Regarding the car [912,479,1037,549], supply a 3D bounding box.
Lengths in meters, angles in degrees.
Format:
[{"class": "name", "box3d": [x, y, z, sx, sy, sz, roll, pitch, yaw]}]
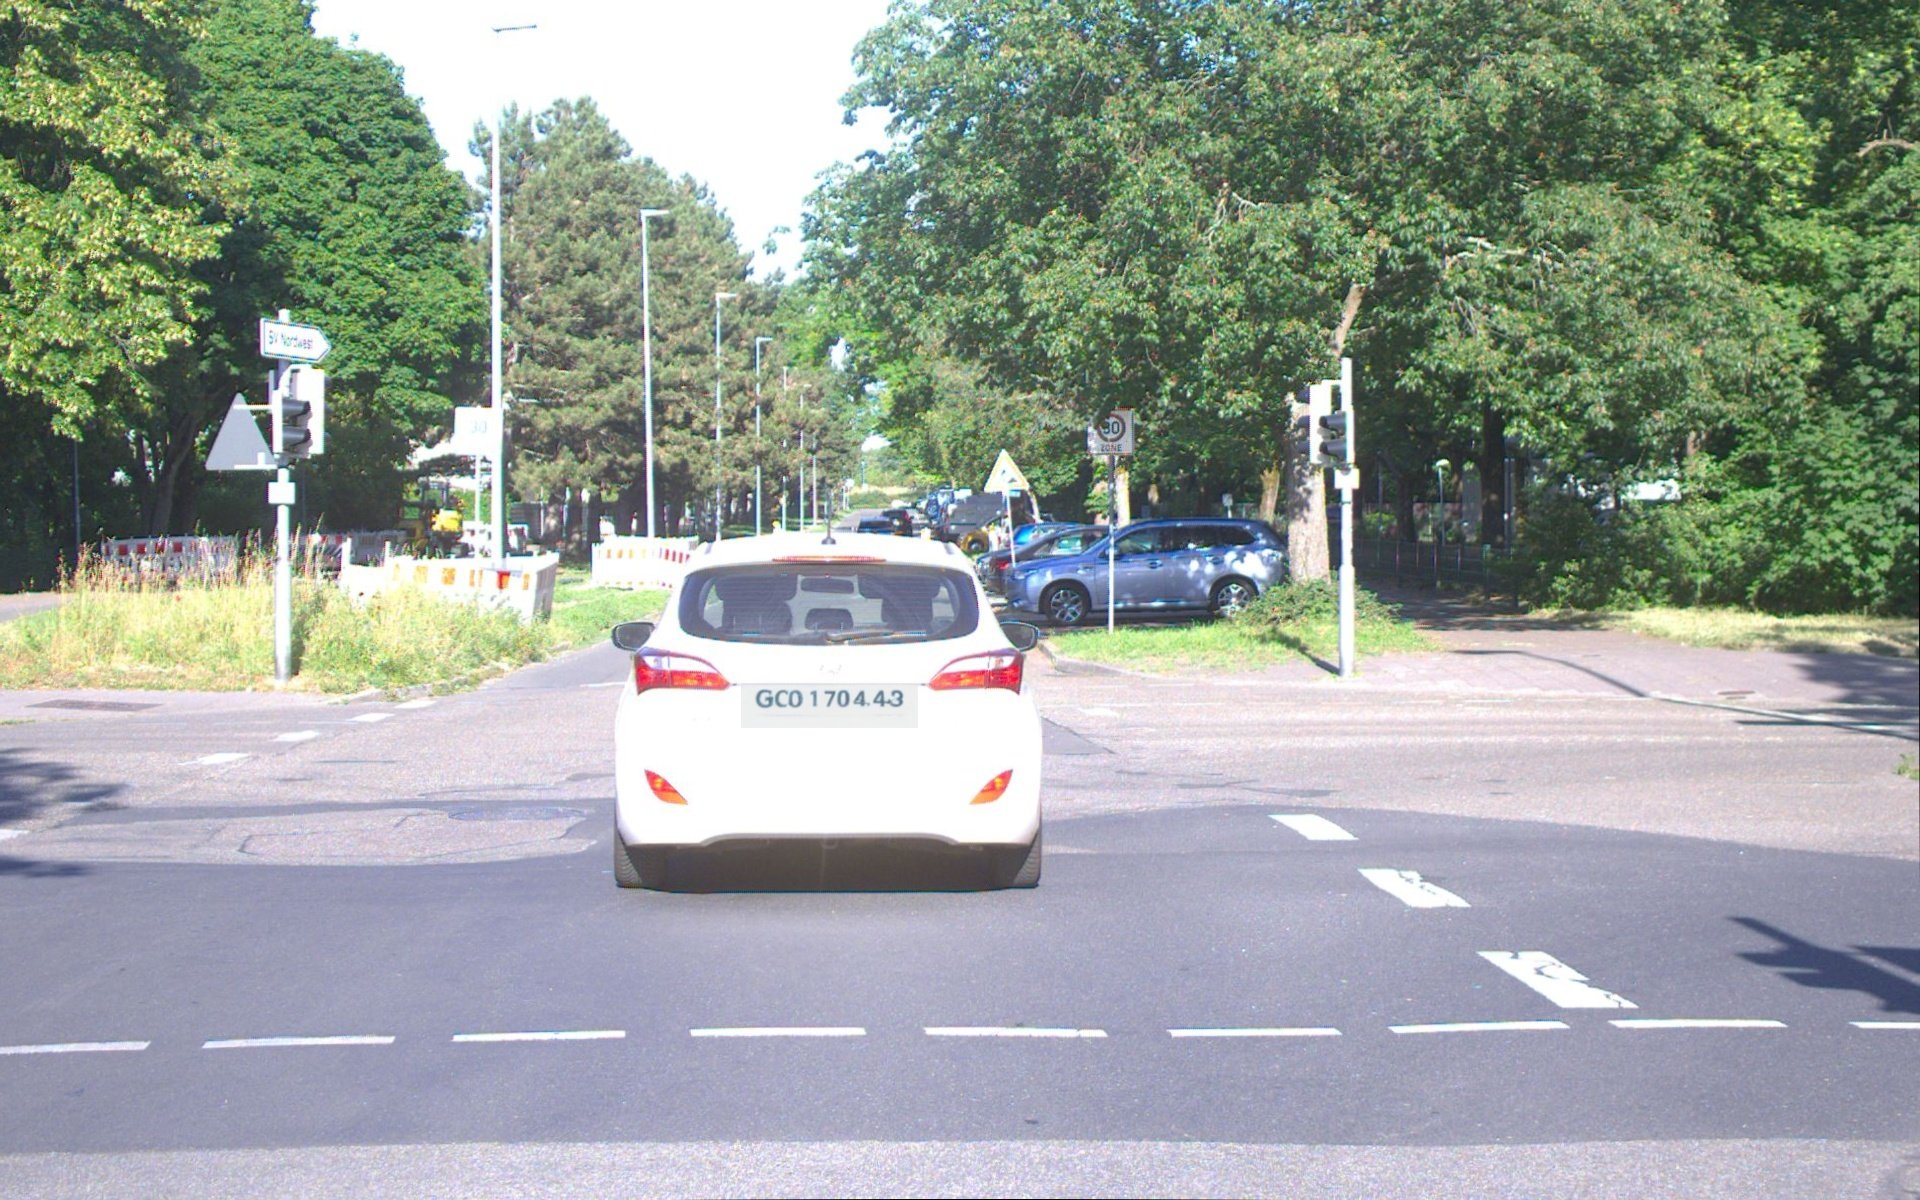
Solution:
[{"class": "car", "box3d": [0.432, -2.676, 107.187, 3.819, 2.091, 1.863, 1, 1, -1]}]

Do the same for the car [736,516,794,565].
[{"class": "car", "box3d": [-7.219, -2.221, 127.560, 1.993, 1.809, 4.000, 0, 1, -1]}]

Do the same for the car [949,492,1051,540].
[{"class": "car", "box3d": [1.509, -3.209, 131.364, 3.819, 1.761, 1.863, 1, 1, -1]}]

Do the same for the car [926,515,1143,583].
[{"class": "car", "box3d": [1.937, -1.352, 90.664, 5.613, 1.678, 1.948, 1, 1, -1]}]

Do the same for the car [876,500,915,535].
[{"class": "car", "box3d": [-3.426, -4.354, 182.257, 1.993, 1.809, 4.000, 1, 1, -1]}]

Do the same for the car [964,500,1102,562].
[{"class": "car", "box3d": [2.049, -1.954, 97.173, 3.819, 1.678, 1.863, 1, 1, -1]}]

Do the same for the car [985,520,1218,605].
[{"class": "car", "box3d": [2.766, -0.743, 67.358, 4.499, 1.624, 1.855, 0, 1, 2]}]

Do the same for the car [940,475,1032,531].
[{"class": "car", "box3d": [1.087, -4.126, 145.932, 3.819, 2.291, 1.863, 1, 1, -1]}]

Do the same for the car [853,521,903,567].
[{"class": "car", "box3d": [-3.407, -2.353, 143.932, 1.993, 1.809, 4.000, 2, 1, -1]}]

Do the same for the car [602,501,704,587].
[{"class": "car", "box3d": [-7.030, -1.321, 79.021, 1.993, 1.809, 4.001, 1, 3, -1]}]

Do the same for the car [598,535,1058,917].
[{"class": "car", "box3d": [-0.598, 0.457, 15.446, 1.789, 1.458, 3.964, 0, 1, -2]}]

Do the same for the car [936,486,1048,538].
[{"class": "car", "box3d": [1.231, -3.439, 134.507, 4.301, 1.901, 1.863, 1, 1, -1]}]

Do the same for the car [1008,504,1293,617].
[{"class": "car", "box3d": [3.035, -0.644, 55.222, 4.499, 1.776, 1.855, 0, 1, 2]}]
